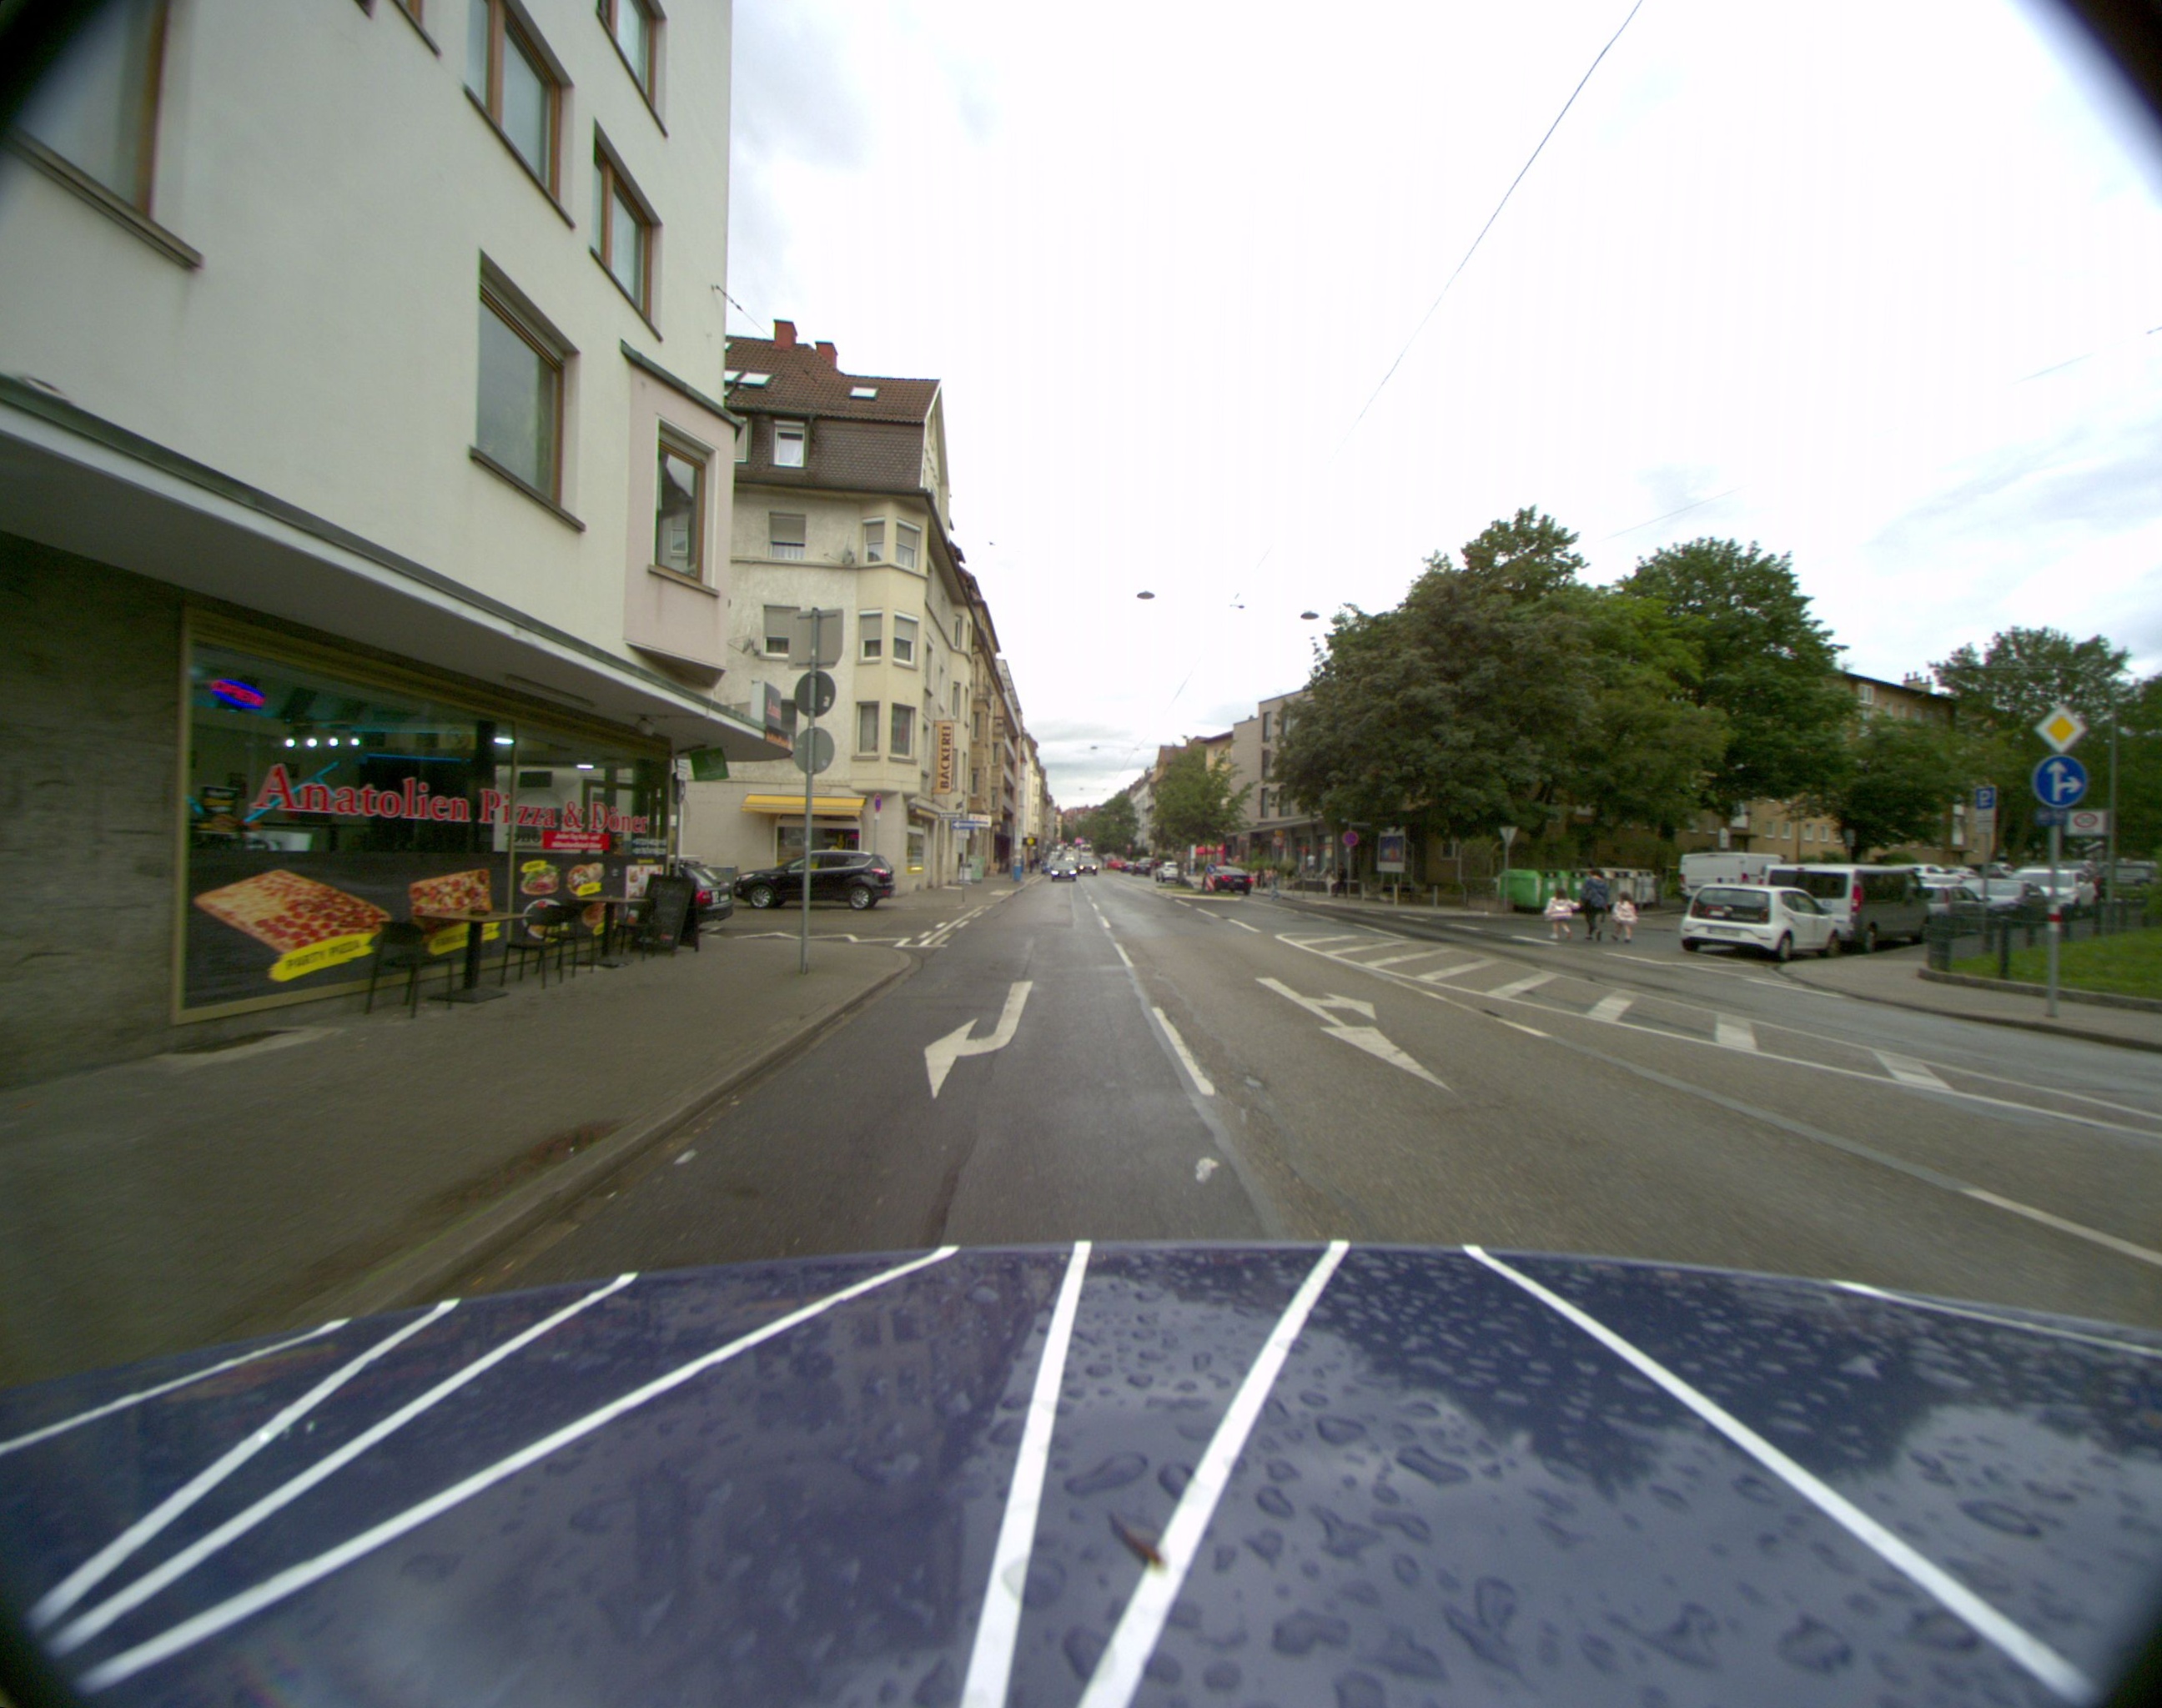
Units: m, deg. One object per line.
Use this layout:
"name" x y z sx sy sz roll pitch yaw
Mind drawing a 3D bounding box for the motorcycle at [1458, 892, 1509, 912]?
"motorcycle" 19.953 2.382 37.696 2.055 0.982 0.797 -1 -1 14

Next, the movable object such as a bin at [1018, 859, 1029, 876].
"movable object such as a bin" -6.217 1.430 82.259 1.002 1.783 1.296 2 1 -3

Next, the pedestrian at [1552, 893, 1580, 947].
"pedestrian" 10.977 1.483 17.213 0.410 1.191 0.311 1 0 -8

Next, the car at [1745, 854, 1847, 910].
"car" 30.240 1.189 32.131 4.007 2.242 1.995 2 -1 -29

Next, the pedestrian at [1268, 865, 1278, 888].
"pedestrian" 12.336 1.445 48.783 0.461 1.464 0.530 1 0 -5

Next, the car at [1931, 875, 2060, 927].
"car" 28.529 1.437 23.687 4.006 1.455 1.690 2 0 -27

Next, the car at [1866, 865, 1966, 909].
"car" 40.776 1.604 37.110 4.005 2.001 1.996 2 -1 -22

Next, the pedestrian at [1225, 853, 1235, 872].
"pedestrian" 13.500 0.751 68.734 0.715 1.668 0.713 1 0 -2

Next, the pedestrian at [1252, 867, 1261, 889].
"pedestrian" 11.305 1.526 48.917 0.434 1.402 0.481 1 0 -5

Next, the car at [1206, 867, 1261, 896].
"car" 8.302 1.457 41.741 2.019 1.417 4.499 1 0 -1

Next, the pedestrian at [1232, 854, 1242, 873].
"pedestrian" 13.837 0.870 67.456 0.711 1.668 0.802 1 0 27

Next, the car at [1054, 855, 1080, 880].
"car" -0.969 0.937 54.081 1.734 1.539 3.980 2 1 0

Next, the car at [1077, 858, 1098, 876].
"car" 0.641 1.260 73.407 1.856 1.646 4.205 1 -1 -1

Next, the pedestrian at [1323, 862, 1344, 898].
"pedestrian" 12.734 1.299 38.268 0.658 1.748 0.719 1 0 -24

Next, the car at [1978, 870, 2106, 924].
"car" 33.823 1.495 26.737 4.006 1.717 1.995 2 0 -27

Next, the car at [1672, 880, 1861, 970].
"car" 14.319 1.410 15.868 3.595 1.561 1.736 2 2 -28

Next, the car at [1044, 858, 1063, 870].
"car" -2.919 1.064 81.532 1.739 1.302 3.767 -1 0 1

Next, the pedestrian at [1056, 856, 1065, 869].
"pedestrian" -2.614 1.113 98.162 0.701 1.637 0.785 4 0 33

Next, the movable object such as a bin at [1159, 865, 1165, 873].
"movable object such as a bin" 10.696 1.932 100.296 0.742 1.052 0.579 1 1 3

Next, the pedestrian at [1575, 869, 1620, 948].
"pedestrian" 11.708 1.225 17.242 0.576 1.752 0.581 1 0 -7

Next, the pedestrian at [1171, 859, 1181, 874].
"pedestrian" 11.059 1.455 88.544 0.793 1.698 0.761 -1 0 -26

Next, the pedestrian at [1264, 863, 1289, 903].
"pedestrian" 9.026 1.339 35.075 0.724 1.815 0.853 1 -1 -24

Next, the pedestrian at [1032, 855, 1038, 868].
"pedestrian" -6.479 1.018 106.830 0.611 1.738 0.698 3 0 -1

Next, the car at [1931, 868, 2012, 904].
"car" 46.429 1.644 39.602 4.007 1.740 1.995 2 0 -30

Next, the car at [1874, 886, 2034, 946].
"car" 23.974 1.657 20.871 3.734 1.435 1.995 2 0 -27

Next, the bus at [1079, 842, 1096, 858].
"bus" 1.311 -0.862 164.572 2.813 3.227 11.958 6 0 -2

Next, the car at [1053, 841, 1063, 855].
"car" -6.057 -1.482 200.381 2.554 3.612 9.048 1 0 -2

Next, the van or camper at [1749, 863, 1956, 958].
"van or camper" 18.660 1.251 18.354 4.974 2.002 1.996 0 0 -26

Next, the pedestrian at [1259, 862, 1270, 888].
"pedestrian" 11.806 1.369 48.902 0.499 1.663 0.552 1 0 -5

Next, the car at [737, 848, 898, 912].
"car" -7.579 0.737 22.233 4.152 1.761 1.872 1 0 -9

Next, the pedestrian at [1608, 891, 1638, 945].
"pedestrian" 12.295 1.456 17.236 0.410 1.191 0.358 1 0 -8

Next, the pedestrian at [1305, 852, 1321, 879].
"pedestrian" 15.668 0.781 51.275 0.724 1.815 0.720 1 -1 -29

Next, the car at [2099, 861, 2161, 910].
"car" 45.497 1.341 32.281 4.006 2.002 1.995 2 0 -27

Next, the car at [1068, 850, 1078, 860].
"car" -1.494 0.170 147.037 1.796 1.768 3.902 1 0 -2

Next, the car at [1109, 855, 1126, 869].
"car" 5.292 1.133 110.620 2.111 1.754 5.058 3 1 -1

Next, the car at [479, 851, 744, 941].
"car" -9.190 0.811 15.189 4.120 1.598 1.804 1 1 -7

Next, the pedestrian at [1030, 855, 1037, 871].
"pedestrian" -5.023 0.963 80.777 0.627 1.642 0.748 3 -1 -1

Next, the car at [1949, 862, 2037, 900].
"car" 51.215 1.514 42.661 4.005 2.001 1.996 2 -1 -22

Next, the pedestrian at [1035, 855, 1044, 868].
"pedestrian" -5.763 1.044 106.019 0.855 1.738 1.061 3 0 -25

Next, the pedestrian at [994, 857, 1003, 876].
"pedestrian" -6.662 0.990 61.148 0.563 1.563 0.626 1 0 -17

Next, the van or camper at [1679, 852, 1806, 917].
"van or camper" 24.914 1.069 28.584 4.625 2.253 2.206 -1 0 -30

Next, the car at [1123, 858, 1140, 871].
"car" 6.355 1.377 96.940 1.959 1.502 4.914 4 -1 3

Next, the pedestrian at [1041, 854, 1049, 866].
"pedestrian" -5.070 0.811 106.949 0.791 1.656 0.699 3 0 14

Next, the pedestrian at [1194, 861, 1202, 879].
"pedestrian" 11.897 1.609 77.322 0.591 1.808 0.870 1 0 -10

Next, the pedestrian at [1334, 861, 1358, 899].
"pedestrian" 13.106 1.266 37.609 0.863 1.834 0.693 1 0 -16

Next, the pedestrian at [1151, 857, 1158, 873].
"pedestrian" 9.385 1.405 96.689 0.703 2.002 0.782 1 1 -5

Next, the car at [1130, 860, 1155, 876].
"car" 6.410 1.446 79.911 1.960 1.547 4.242 3 -1 -3

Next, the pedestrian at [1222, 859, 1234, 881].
"pedestrian" 12.063 1.334 62.317 0.724 1.815 0.721 1 -1 -20

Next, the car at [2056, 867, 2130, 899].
"car" 67.917 1.970 51.001 4.005 2.001 1.996 2 -1 -22

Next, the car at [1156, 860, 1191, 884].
"car" 6.956 1.338 57.351 1.825 1.559 4.088 5 -1 -2
